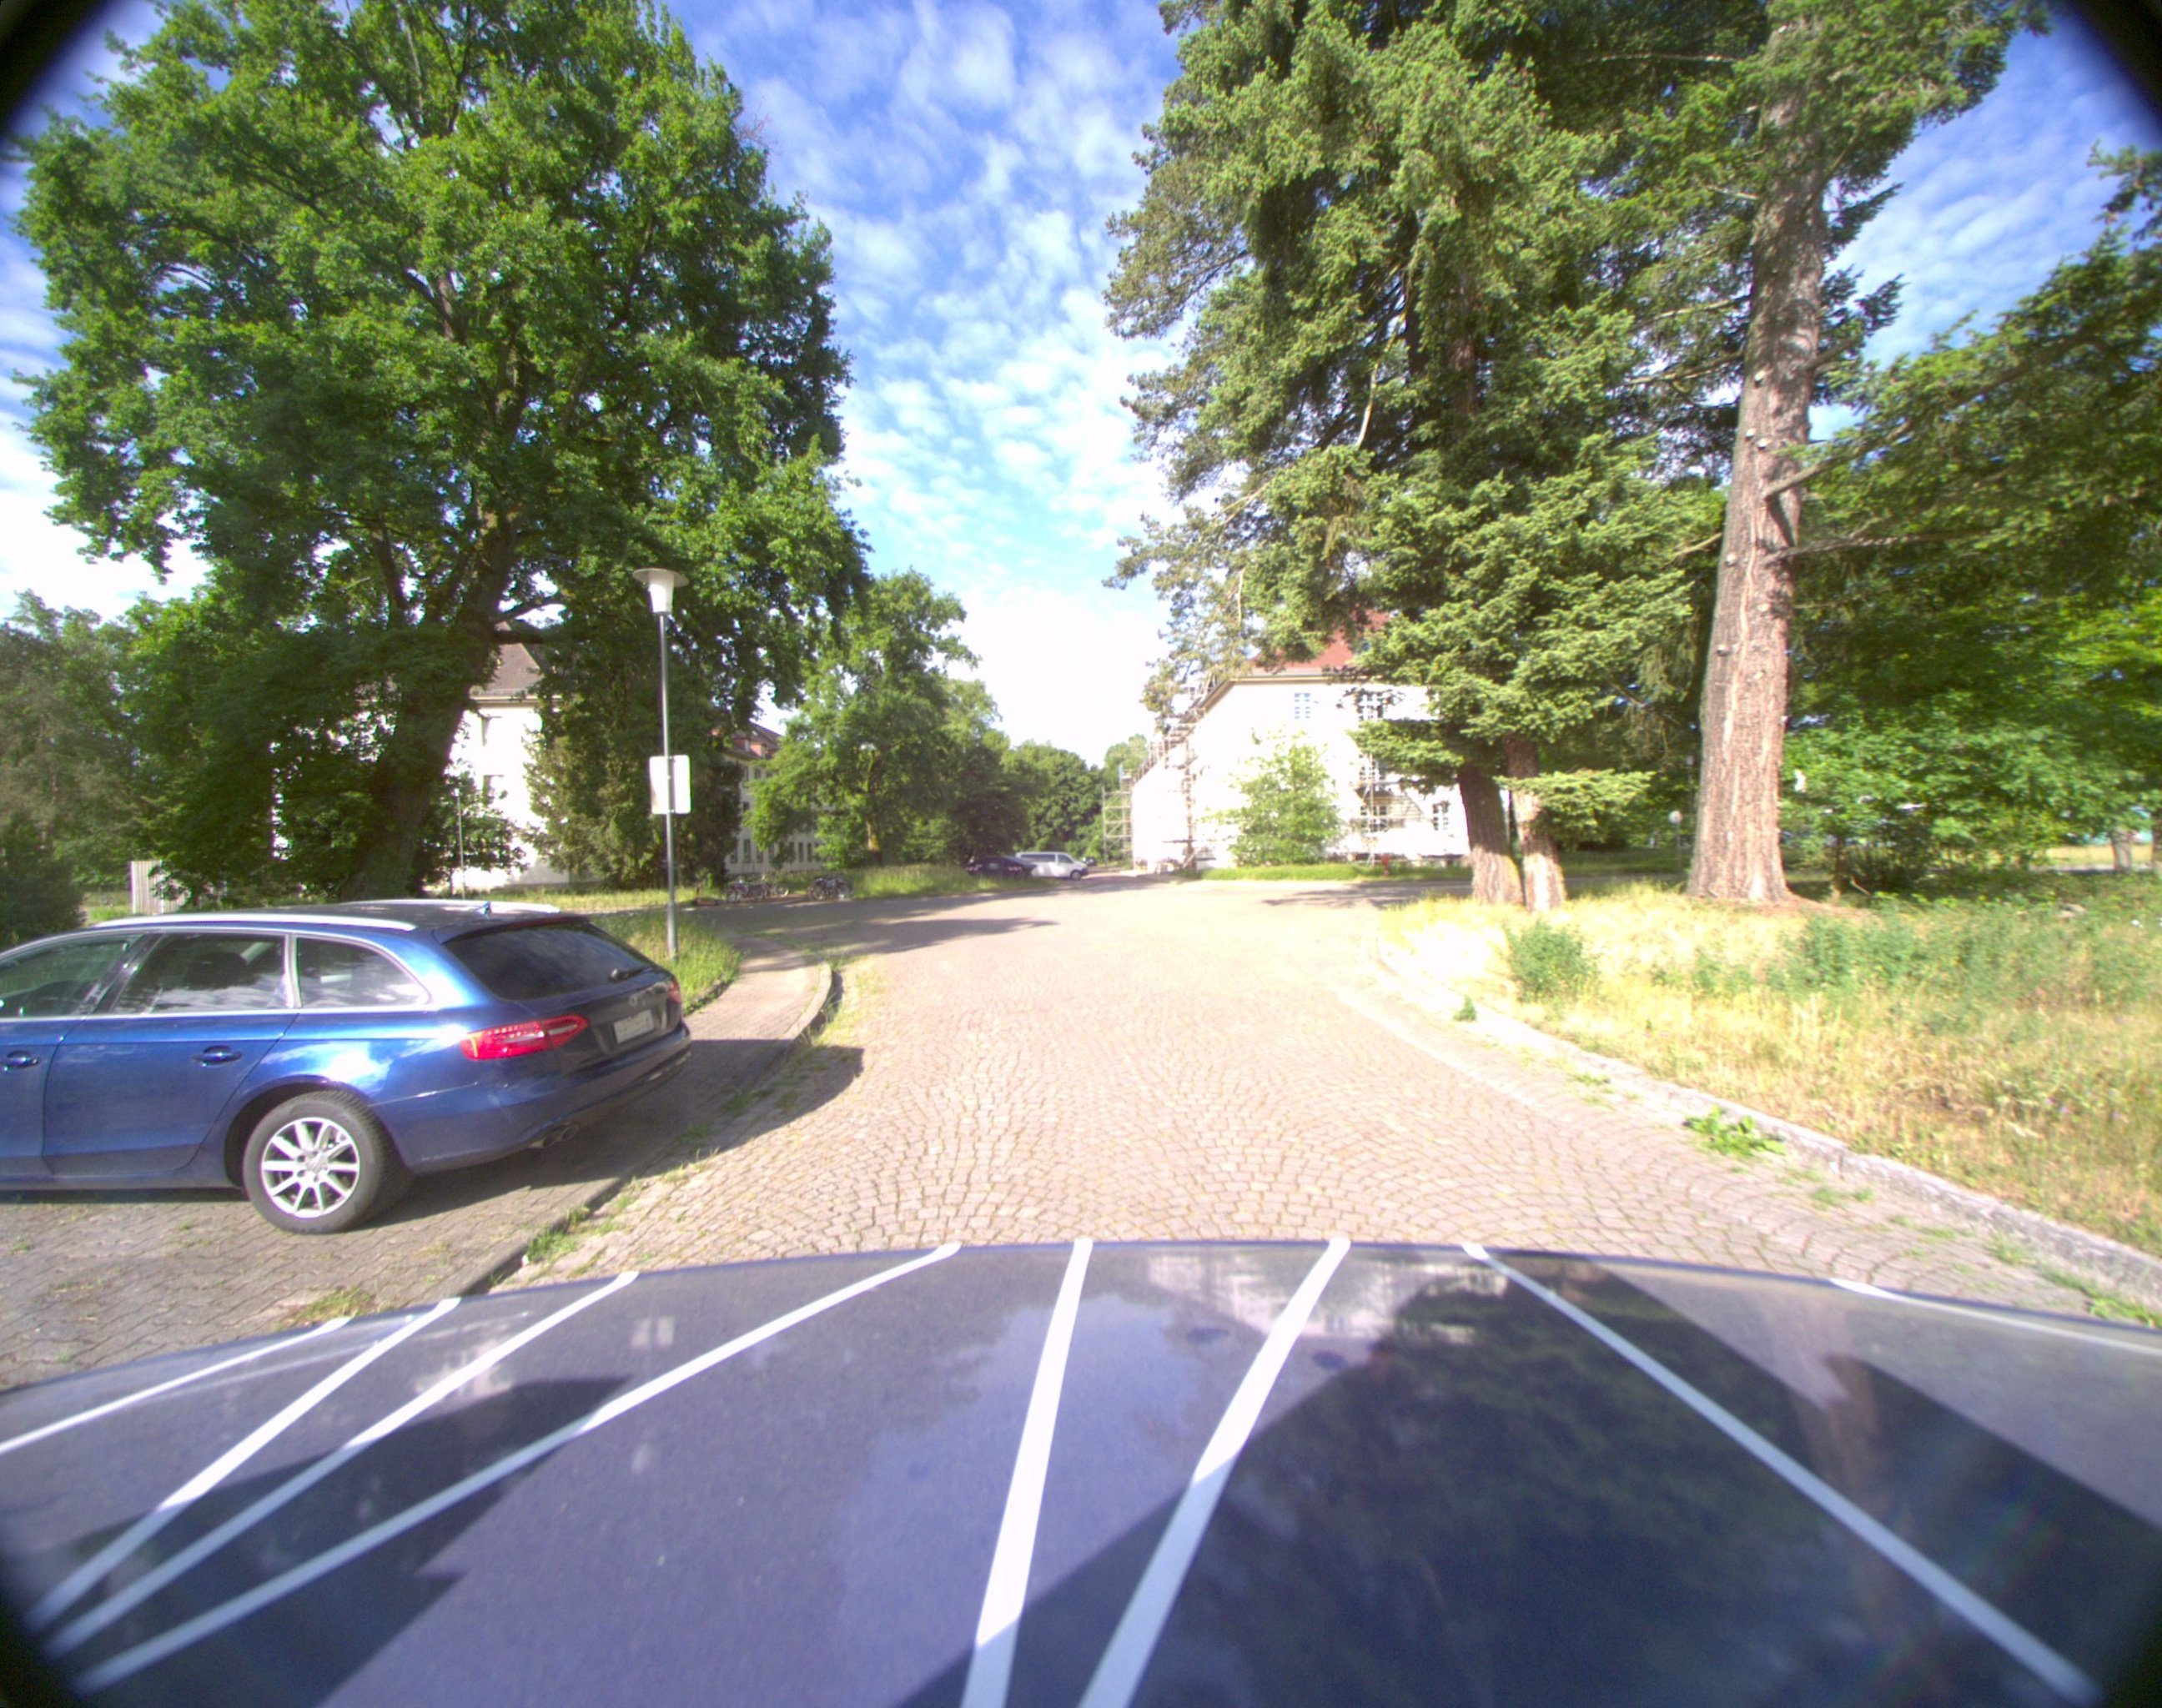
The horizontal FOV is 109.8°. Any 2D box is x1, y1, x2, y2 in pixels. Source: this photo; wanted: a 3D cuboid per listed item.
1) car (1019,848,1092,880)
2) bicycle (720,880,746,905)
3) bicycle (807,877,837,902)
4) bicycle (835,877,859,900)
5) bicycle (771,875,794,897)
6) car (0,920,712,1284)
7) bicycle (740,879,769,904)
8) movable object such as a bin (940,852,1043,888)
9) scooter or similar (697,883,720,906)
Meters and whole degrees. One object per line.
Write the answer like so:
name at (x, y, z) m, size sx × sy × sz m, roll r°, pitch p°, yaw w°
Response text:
car at (-1.782, 0.692, 53.098) m, size 4.937 × 2.002 × 2.000 m, roll -2°, pitch 0°, yaw -1°
bicycle at (-15.003, 1.637, 32.757) m, size 0.619 × 1.010 × 1.027 m, roll -2°, pitch 0°, yaw 1°
bicycle at (-11.089, 1.504, 32.561) m, size 0.710 × 1.010 × 1.256 m, roll -2°, pitch 0°, yaw 6°
bicycle at (-10.140, 1.477, 32.992) m, size 0.747 × 0.929 × 1.140 m, roll -2°, pitch 0°, yaw -5°
bicycle at (-14.640, 1.560, 37.261) m, size 0.712 × 1.010 × 1.024 m, roll -2°, pitch 1°, yaw -39°
car at (-4.653, 1.142, 4.104) m, size 4.461 × 1.399 × 1.714 m, roll 0°, pitch 0°, yaw 0°
bicycle at (-14.250, 1.622, 33.150) m, size 0.710 × 1.010 × 1.028 m, roll -2°, pitch 0°, yaw 6°
movable object such as a bin at (-4.703, 0.840, 39.999) m, size 4.932 × 1.749 × 2.002 m, roll -2°, pitch 0°, yaw 13°
scooter or similar at (-15.685, 1.715, 31.996) m, size 0.770 × 0.924 × 0.261 m, roll -2°, pitch 1°, yaw -7°
